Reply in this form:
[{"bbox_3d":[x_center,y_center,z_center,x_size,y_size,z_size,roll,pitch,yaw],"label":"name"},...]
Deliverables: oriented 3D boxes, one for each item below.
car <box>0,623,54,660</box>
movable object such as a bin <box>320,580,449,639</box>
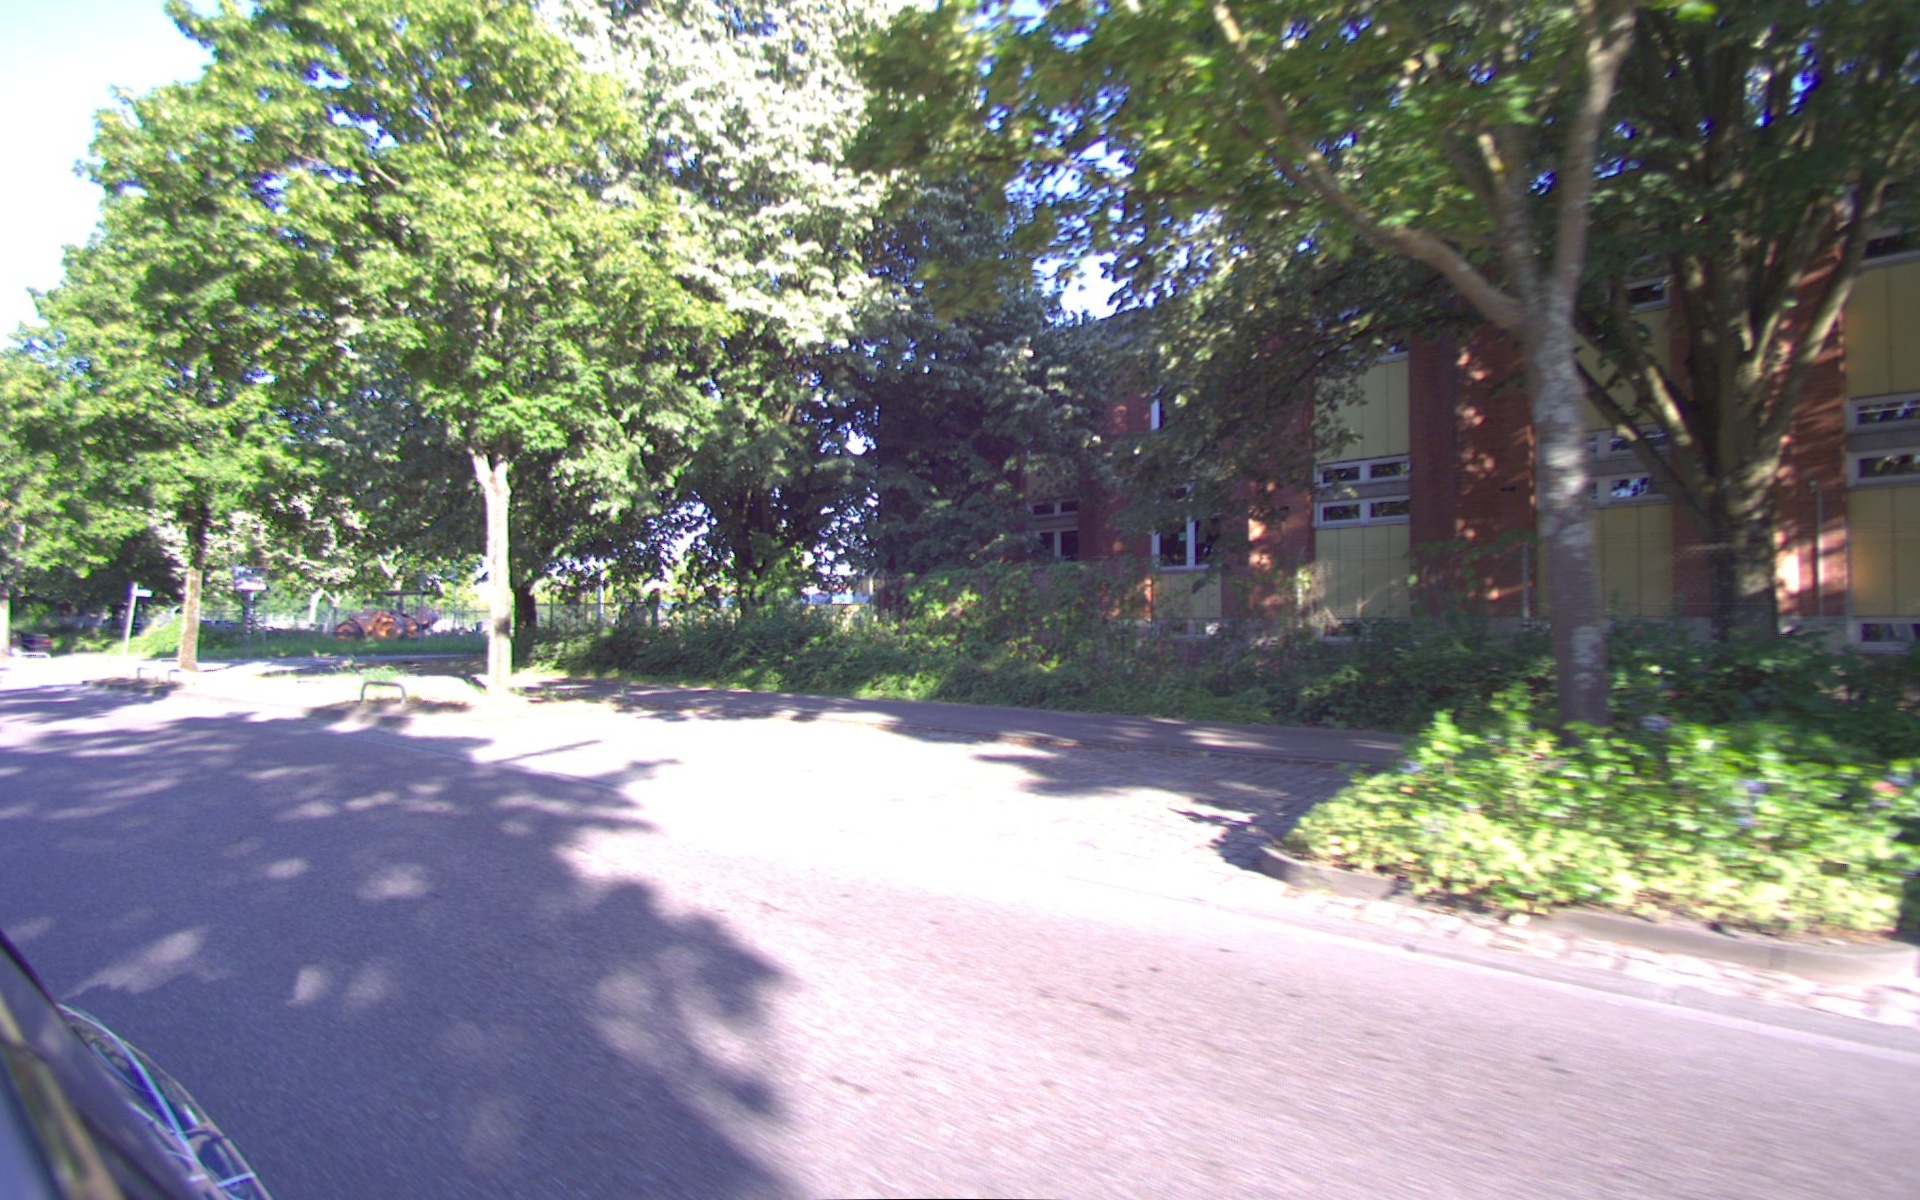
[{"bbox_3d":[-41.327,1.785,42.174,1.994,1.473,4.994,-1,0,33],"label":"car"},{"bbox_3d":[-26.659,0.464,46.978,4.734,2.685,2.165,0,-2,-2],"label":"movable object such as a bin"}]
